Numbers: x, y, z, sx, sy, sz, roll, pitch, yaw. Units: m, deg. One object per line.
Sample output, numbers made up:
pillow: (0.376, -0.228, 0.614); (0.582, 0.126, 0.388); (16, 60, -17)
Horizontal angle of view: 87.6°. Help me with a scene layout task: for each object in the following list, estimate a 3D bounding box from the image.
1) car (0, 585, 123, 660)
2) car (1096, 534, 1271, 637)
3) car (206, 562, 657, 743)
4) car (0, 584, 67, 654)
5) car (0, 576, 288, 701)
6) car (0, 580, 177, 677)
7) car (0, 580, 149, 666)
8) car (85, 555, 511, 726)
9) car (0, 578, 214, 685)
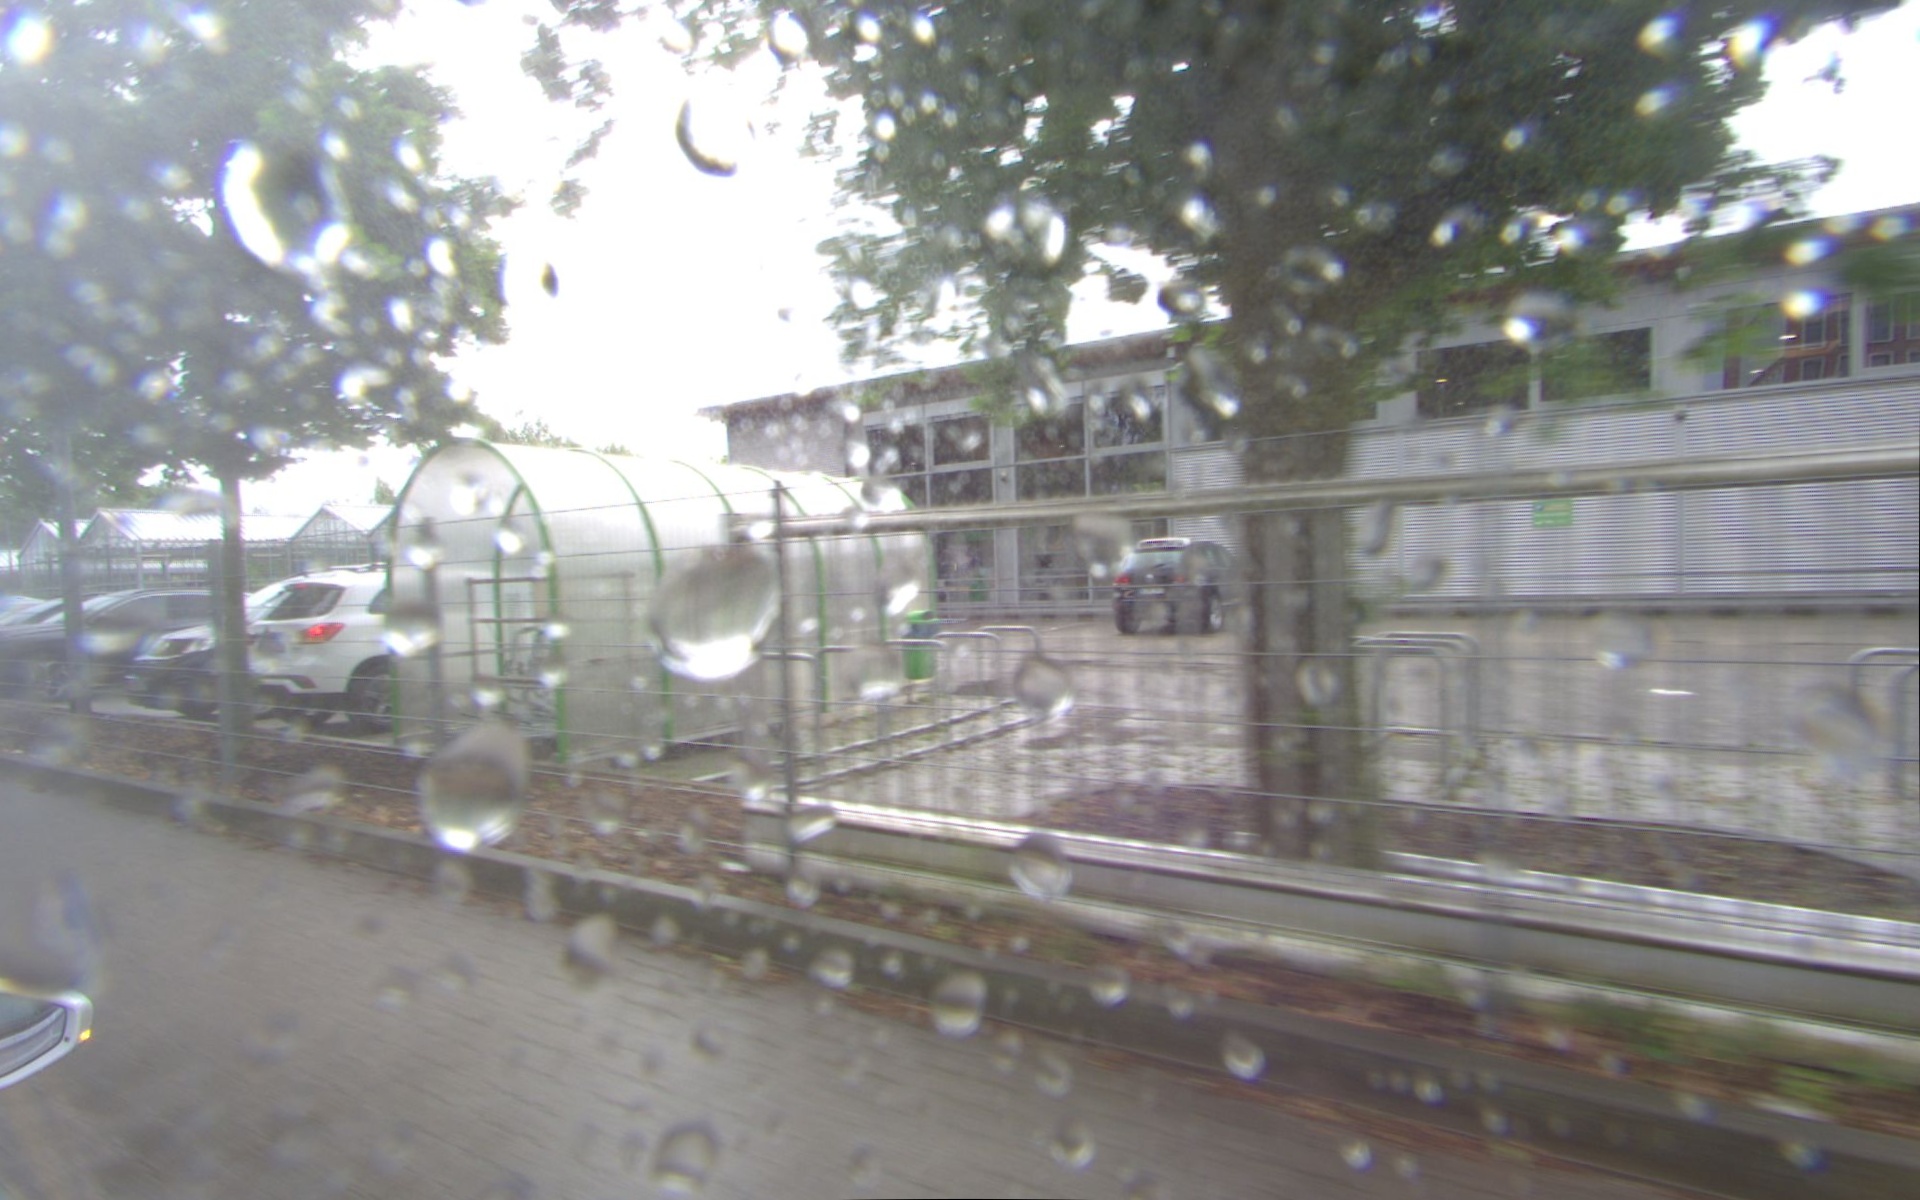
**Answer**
car: (-21.353, 0.517, 21.954); (1.794, 1.555, 4.205); (-1, 2, 25)
car: (4.652, -0.363, 20.352); (2.035, 1.858, 4.348); (0, 3, 34)
car: (-5.763, 0.426, 11.496); (1.797, 1.623, 4.198); (0, 2, 31)
car: (-23.669, 0.507, 23.059); (1.794, 1.610, 4.205); (-1, 2, 25)
car: (-13.297, 0.505, 15.718); (1.794, 1.641, 4.205); (-1, 2, 25)
car: (-17.387, 0.509, 18.499); (1.794, 1.641, 4.205); (-1, 2, 25)
car: (-19.470, 0.475, 20.366); (1.794, 1.641, 4.205); (-1, 2, 25)
car: (-8.219, 0.364, 12.931); (1.794, 1.819, 4.205); (0, 2, 25)
car: (-15.696, 0.501, 17.223); (1.794, 1.641, 4.205); (-1, 2, 25)
